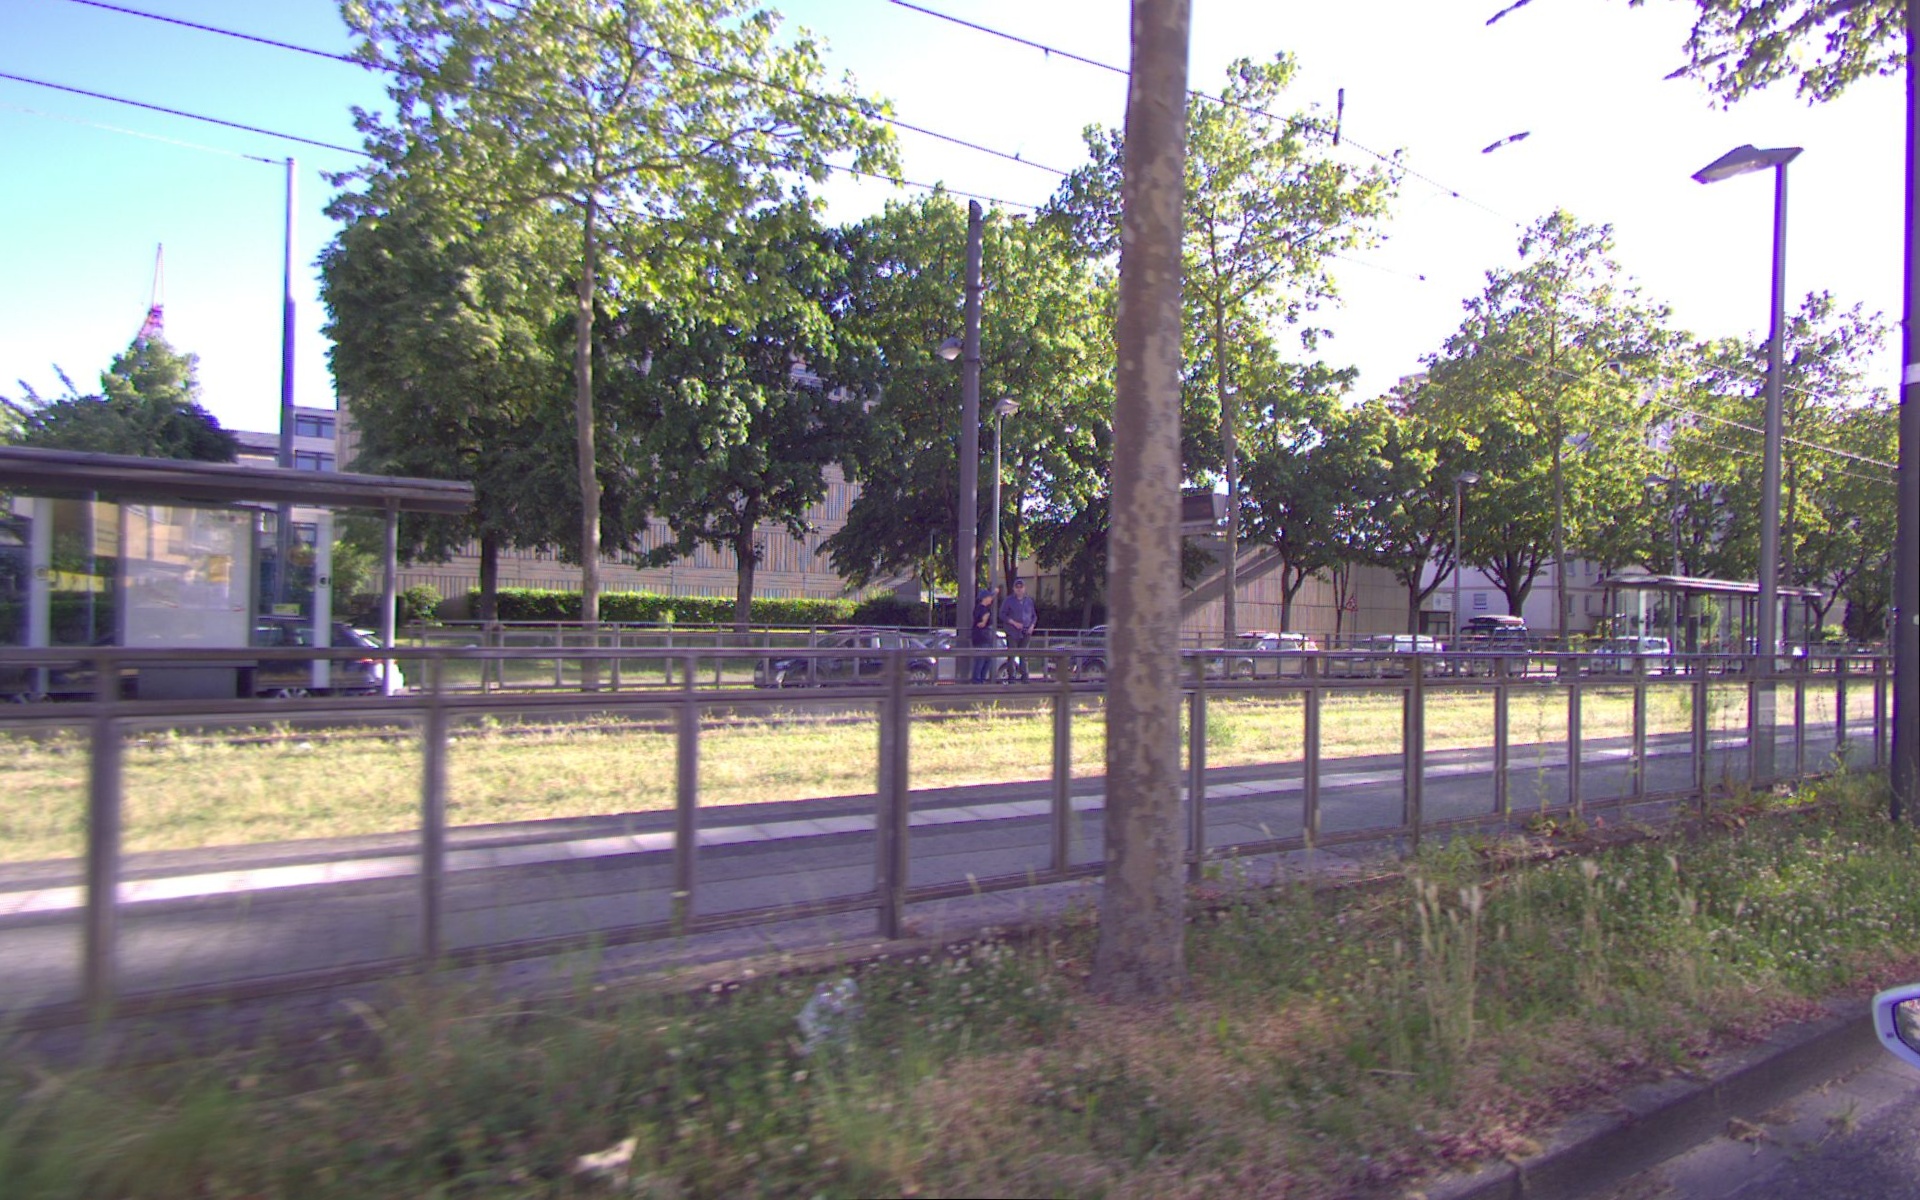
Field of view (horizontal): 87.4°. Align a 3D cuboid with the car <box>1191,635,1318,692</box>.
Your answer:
[{"bbox_3d":[9.181,1.945,31.255,3.884,1.657,1.586,1,-2,-31],"label":"car"}]

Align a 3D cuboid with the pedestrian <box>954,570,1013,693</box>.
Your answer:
[{"bbox_3d":[0.363,0.498,15.921,0.629,1.892,0.717,1,-1,-29],"label":"pedestrian"}]

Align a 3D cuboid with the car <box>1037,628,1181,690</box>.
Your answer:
[{"bbox_3d":[4.243,1.637,28.496,3.883,1.654,1.587,1,-1,-29],"label":"car"}]

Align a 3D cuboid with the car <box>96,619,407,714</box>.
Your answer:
[{"bbox_3d":[-11.278,1.042,16.361,3.952,1.372,1.544,2,-1,-29],"label":"car"}]

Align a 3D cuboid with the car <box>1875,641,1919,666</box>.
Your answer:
[{"bbox_3d":[58.901,3.309,61.576,3.747,1.454,1.842,0,-1,11],"label":"car"}]

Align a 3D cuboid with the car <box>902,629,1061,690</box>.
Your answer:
[{"bbox_3d":[0.589,1.518,26.133,3.883,1.463,1.587,1,-2,-29],"label":"car"}]

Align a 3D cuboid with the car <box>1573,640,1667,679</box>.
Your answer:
[{"bbox_3d":[28.148,2.515,42.855,3.883,1.566,1.707,1,-1,-28],"label":"car"}]

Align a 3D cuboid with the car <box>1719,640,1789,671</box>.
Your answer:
[{"bbox_3d":[33.550,2.316,42.423,3.338,1.257,1.256,2,-2,-31],"label":"car"}]

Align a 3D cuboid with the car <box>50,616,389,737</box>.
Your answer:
[{"bbox_3d":[-9.821,0.965,13.661,3.498,1.446,1.596,2,-1,-32],"label":"car"}]

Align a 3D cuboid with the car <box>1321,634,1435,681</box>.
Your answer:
[{"bbox_3d":[14.294,1.920,34.292,3.974,1.508,1.586,2,-2,-31],"label":"car"}]

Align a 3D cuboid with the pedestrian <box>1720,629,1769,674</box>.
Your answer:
[{"bbox_3d":[23.440,1.527,30.033,0.784,1.277,0.840,1,0,-1],"label":"pedestrian"}]

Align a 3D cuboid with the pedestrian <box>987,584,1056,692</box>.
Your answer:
[{"bbox_3d":[0.996,0.608,16.412,0.745,1.712,0.879,1,-1,-29],"label":"pedestrian"}]

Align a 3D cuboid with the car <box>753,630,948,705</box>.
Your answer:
[{"bbox_3d":[-2.338,1.407,21.635,3.883,1.463,1.587,1,-2,-29],"label":"car"}]

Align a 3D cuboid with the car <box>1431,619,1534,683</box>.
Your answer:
[{"bbox_3d":[19.777,1.910,37.988,3.888,2.292,1.705,1,-1,-31],"label":"car"}]
